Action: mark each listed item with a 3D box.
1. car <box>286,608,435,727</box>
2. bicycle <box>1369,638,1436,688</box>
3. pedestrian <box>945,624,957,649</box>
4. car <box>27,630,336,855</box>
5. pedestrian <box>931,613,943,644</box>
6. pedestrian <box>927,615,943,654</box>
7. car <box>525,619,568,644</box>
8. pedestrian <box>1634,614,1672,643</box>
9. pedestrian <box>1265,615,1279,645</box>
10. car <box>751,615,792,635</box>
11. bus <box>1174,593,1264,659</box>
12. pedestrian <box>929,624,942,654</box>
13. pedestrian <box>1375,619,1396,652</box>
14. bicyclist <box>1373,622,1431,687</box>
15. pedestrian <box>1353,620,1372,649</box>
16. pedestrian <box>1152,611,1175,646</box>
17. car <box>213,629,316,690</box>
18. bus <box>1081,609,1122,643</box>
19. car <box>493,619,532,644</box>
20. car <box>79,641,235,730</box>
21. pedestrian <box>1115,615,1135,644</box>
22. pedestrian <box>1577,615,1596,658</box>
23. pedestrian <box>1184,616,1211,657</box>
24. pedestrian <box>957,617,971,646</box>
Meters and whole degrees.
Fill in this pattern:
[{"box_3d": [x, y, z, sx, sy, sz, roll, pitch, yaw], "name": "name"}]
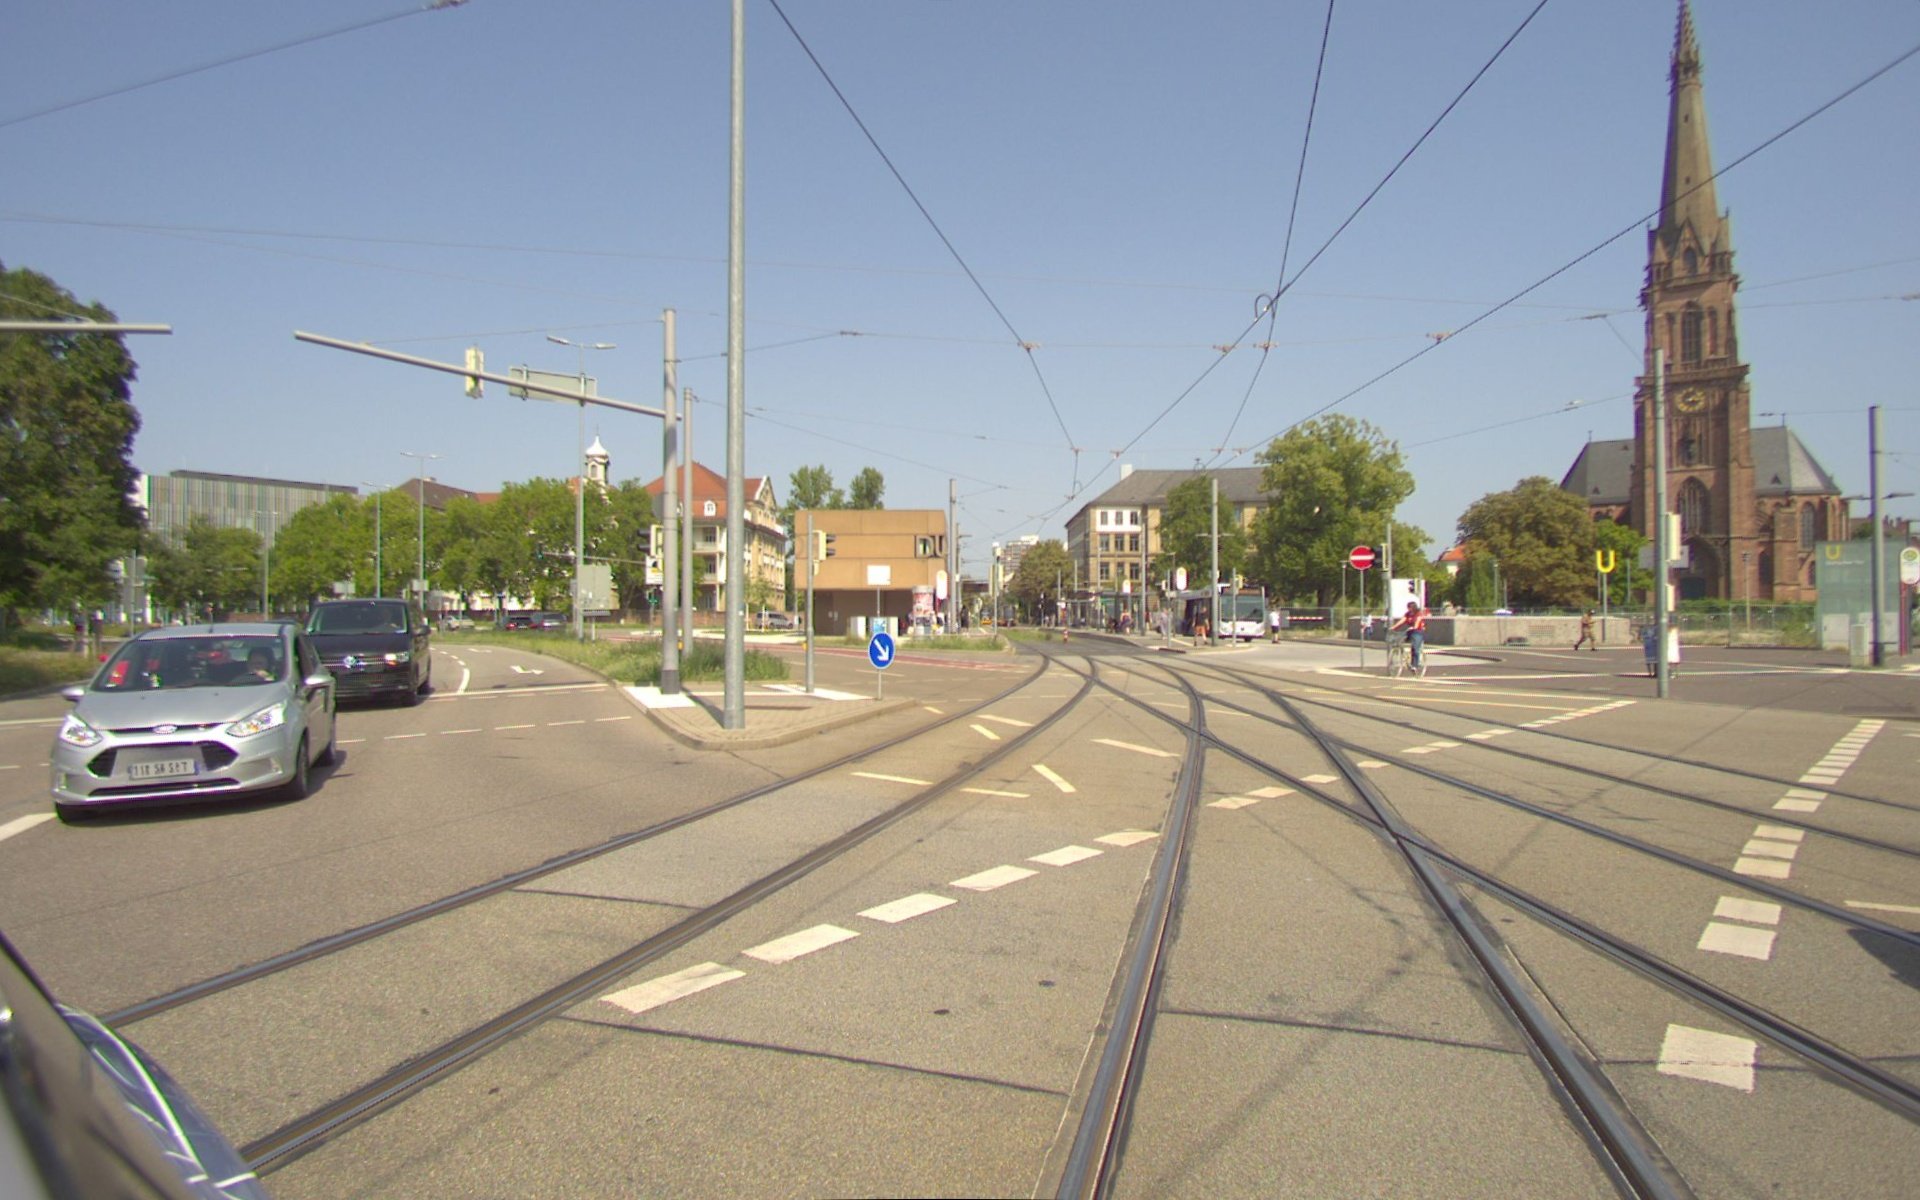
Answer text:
[{"box_3d": [-11.128, 1.158, 19.111, 1.868, 1.945, 4.901, 0, -1, -24], "name": "car"}, {"box_3d": [10.279, 1.436, 23.470, 1.882, 1.077, 0.616, 1, -2, -40], "name": "bicycle"}, {"box_3d": [-0.618, 2.556, 71.422, 0.785, 1.692, 0.855, -2, 0, 3], "name": "pedestrian"}, {"box_3d": [-7.127, 1.112, 9.728, 1.664, 1.607, 4.375, 0, -1, -28], "name": "car"}, {"box_3d": [-1.289, 1.583, 56.605, 0.571, 1.688, 0.587, -2, 0, 3], "name": "pedestrian"}, {"box_3d": [-1.186, 1.617, 47.634, 0.551, 1.830, 0.562, 0, -2, -25], "name": "pedestrian"}, {"box_3d": [-27.932, 2.104, 68.218, 1.871, 1.665, 4.669, 0, -1, -33], "name": "car"}, {"box_3d": [35.967, 1.462, 52.553, 0.604, 1.497, 1.701, 0, -1, -8], "name": "pedestrian"}, {"box_3d": [16.106, 1.556, 52.251, 0.570, 1.540, 0.598, 0, -2, 7], "name": "pedestrian"}, {"box_3d": [-19.106, 2.493, 102.733, 1.995, 1.985, 3.954, -1, -1, 34], "name": "car"}, {"box_3d": [14.698, 1.449, 58.558, 2.642, 3.356, 12.744, 0, -1, 3], "name": "bus"}, {"box_3d": [-1.139, 1.794, 46.988, 0.454, 1.385, 0.351, 0, -2, -25], "name": "pedestrian"}, {"box_3d": [22.199, 1.852, 52.789, 0.773, 1.741, 0.679, 0, -1, -3], "name": "pedestrian"}, {"box_3d": [10.298, 1.242, 23.561, 0.964, 1.470, 0.879, 1, -2, -39], "name": "bicyclist"}, {"box_3d": [22.270, 1.909, 55.962, 0.773, 1.560, 0.679, 1, -2, -3], "name": "pedestrian"}, {"box_3d": [10.494, 1.459, 52.175, 0.944, 1.793, 0.787, 2, -3, -40], "name": "pedestrian"}, {"box_3d": [-17.899, 1.484, 26.175, 1.491, 1.349, 3.519, -1, 0, -23], "name": "car"}, {"box_3d": [14.406, 2.576, 104.090, 2.507, 3.054, 12.432, -2, 0, 1], "name": "bus"}, {"box_3d": [-27.709, 1.938, 62.606, 1.651, 1.532, 3.715, 0, -1, -33], "name": "car"}, {"box_3d": [-14.859, 1.522, 18.910, 1.491, 1.419, 3.370, 0, -1, -24], "name": "car"}, {"box_3d": [10.104, 1.809, 61.919, 0.773, 1.793, 0.961, 2, -2, -37], "name": "pedestrian"}, {"box_3d": [24.992, 1.443, 40.382, 0.571, 1.671, 0.793, -1, 0, 29], "name": "pedestrian"}, {"box_3d": [10.762, 1.650, 45.830, 0.944, 1.793, 0.787, 2, -3, -40], "name": "pedestrian"}, {"box_3d": [0.230, 1.844, 58.677, 0.562, 1.658, 0.513, -1, 0, -40], "name": "pedestrian"}]
